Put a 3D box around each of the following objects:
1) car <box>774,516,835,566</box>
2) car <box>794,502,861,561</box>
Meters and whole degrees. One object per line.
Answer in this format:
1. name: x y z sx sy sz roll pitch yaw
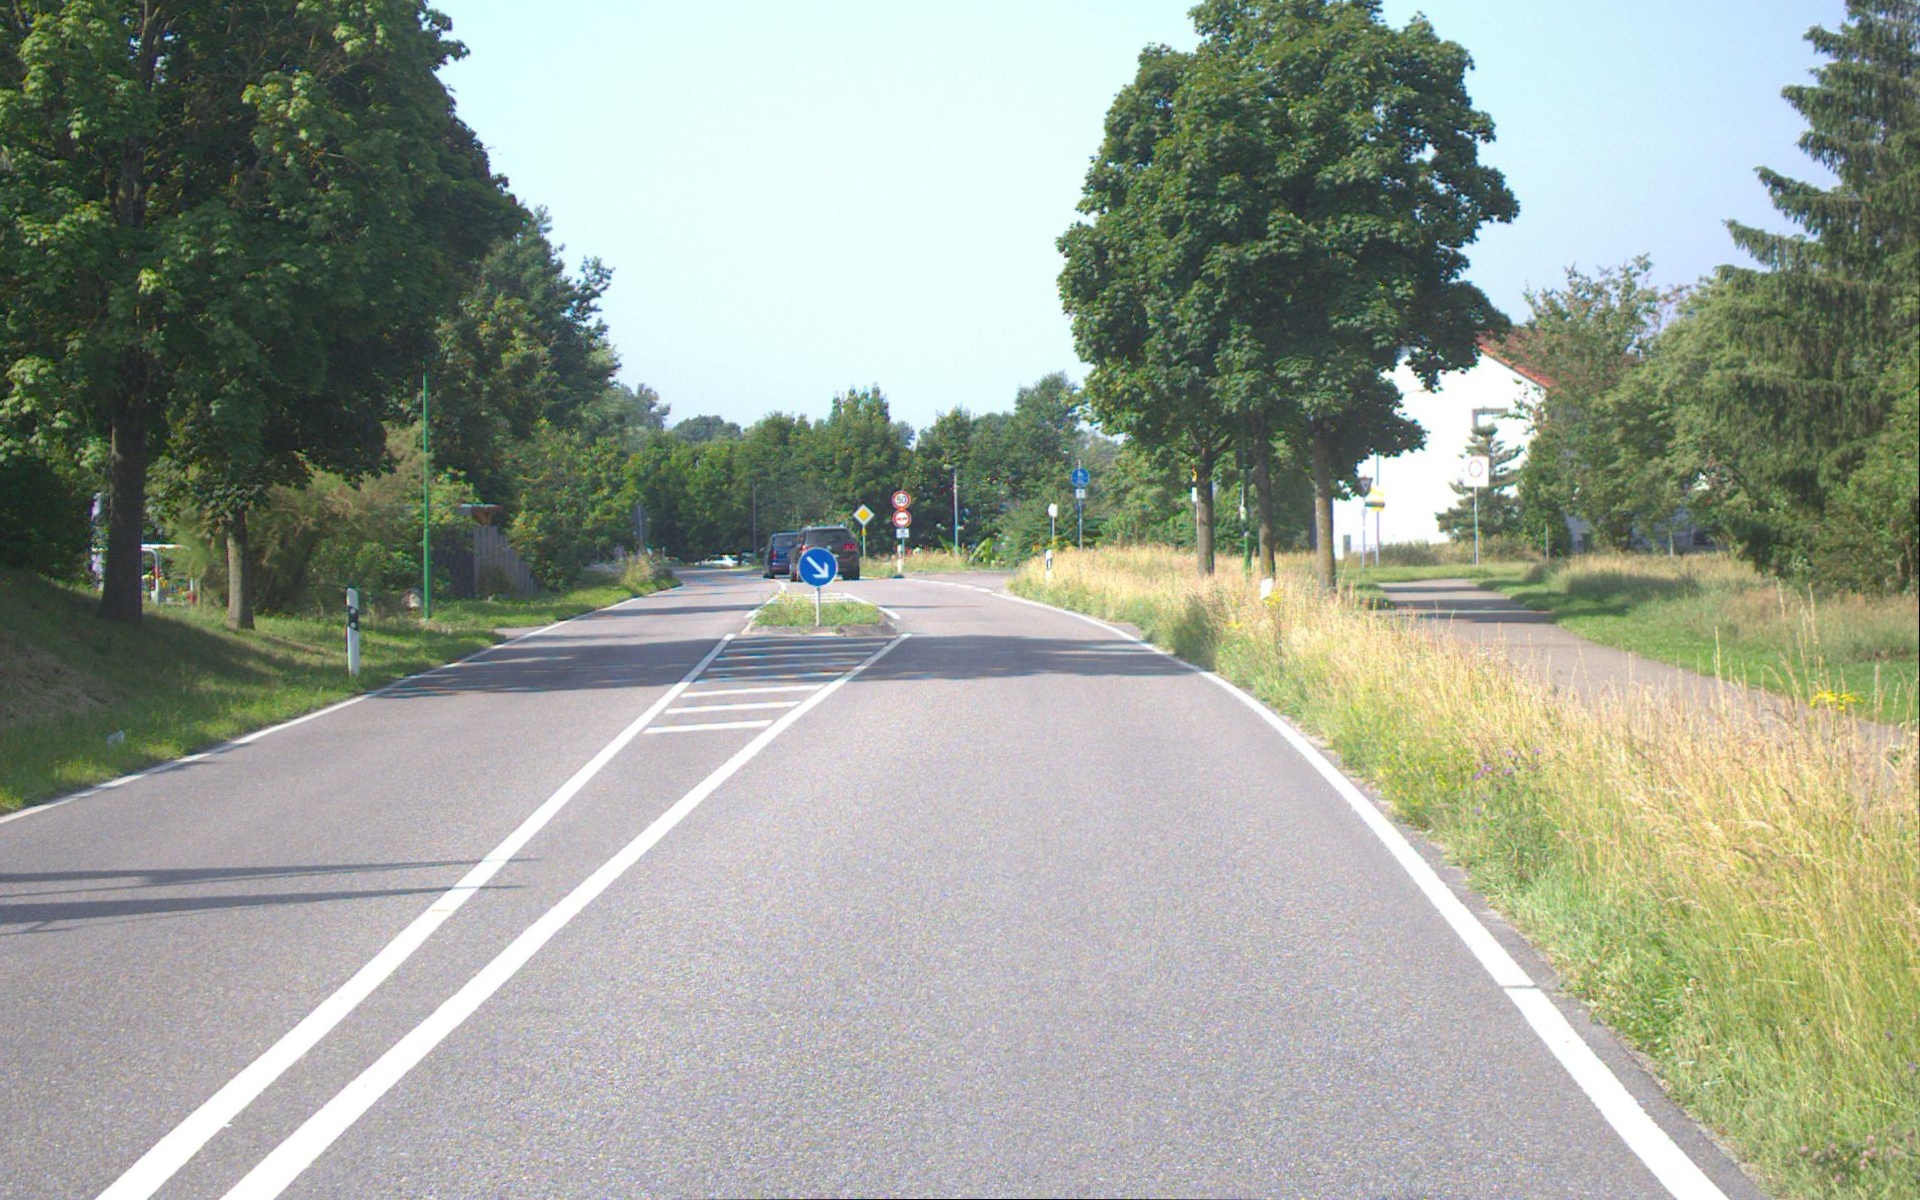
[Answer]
1. car: -5.713 -2.178 125.880 2.004 1.765 4.001 0 2 -5
2. car: -4.086 -2.138 105.726 1.925 1.765 4.001 0 2 -4
